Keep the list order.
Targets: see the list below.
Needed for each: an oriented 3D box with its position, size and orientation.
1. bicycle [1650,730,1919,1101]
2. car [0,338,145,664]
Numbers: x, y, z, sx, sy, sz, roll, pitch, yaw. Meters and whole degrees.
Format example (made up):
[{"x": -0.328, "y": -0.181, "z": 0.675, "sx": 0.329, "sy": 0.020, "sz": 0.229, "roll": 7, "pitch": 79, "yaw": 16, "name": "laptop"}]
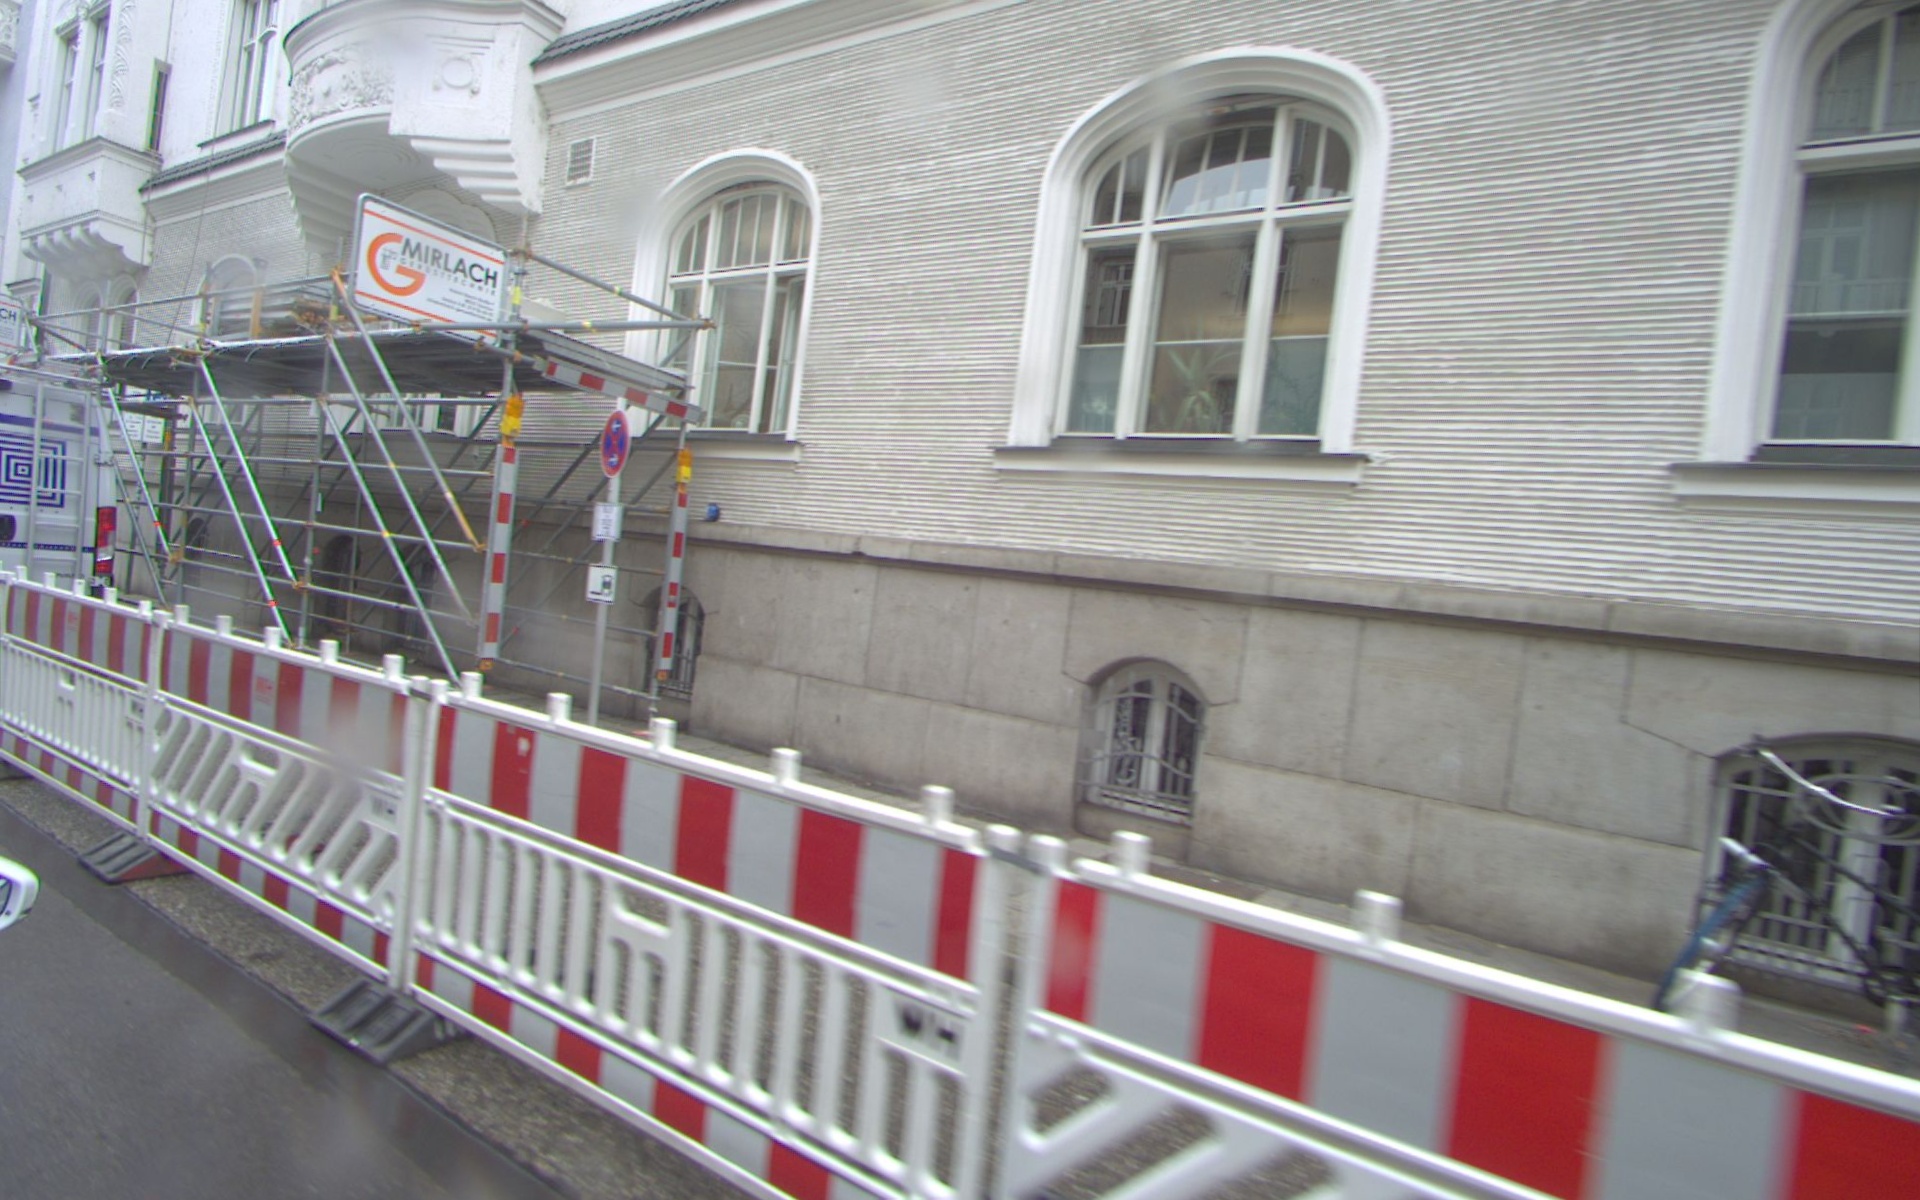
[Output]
[{"x": 3.716, "y": 1.232, "z": 3.857, "sx": 1.626, "sy": 1.186, "sz": 0.683, "roll": 7, "pitch": 0, "yaw": 34, "name": "bicycle"}, {"x": -10.373, "y": -1.087, "z": 9.809, "sx": 5.356, "sy": 2.723, "sz": 2.078, "roll": 7, "pitch": 1, "yaw": 33, "name": "car"}]
